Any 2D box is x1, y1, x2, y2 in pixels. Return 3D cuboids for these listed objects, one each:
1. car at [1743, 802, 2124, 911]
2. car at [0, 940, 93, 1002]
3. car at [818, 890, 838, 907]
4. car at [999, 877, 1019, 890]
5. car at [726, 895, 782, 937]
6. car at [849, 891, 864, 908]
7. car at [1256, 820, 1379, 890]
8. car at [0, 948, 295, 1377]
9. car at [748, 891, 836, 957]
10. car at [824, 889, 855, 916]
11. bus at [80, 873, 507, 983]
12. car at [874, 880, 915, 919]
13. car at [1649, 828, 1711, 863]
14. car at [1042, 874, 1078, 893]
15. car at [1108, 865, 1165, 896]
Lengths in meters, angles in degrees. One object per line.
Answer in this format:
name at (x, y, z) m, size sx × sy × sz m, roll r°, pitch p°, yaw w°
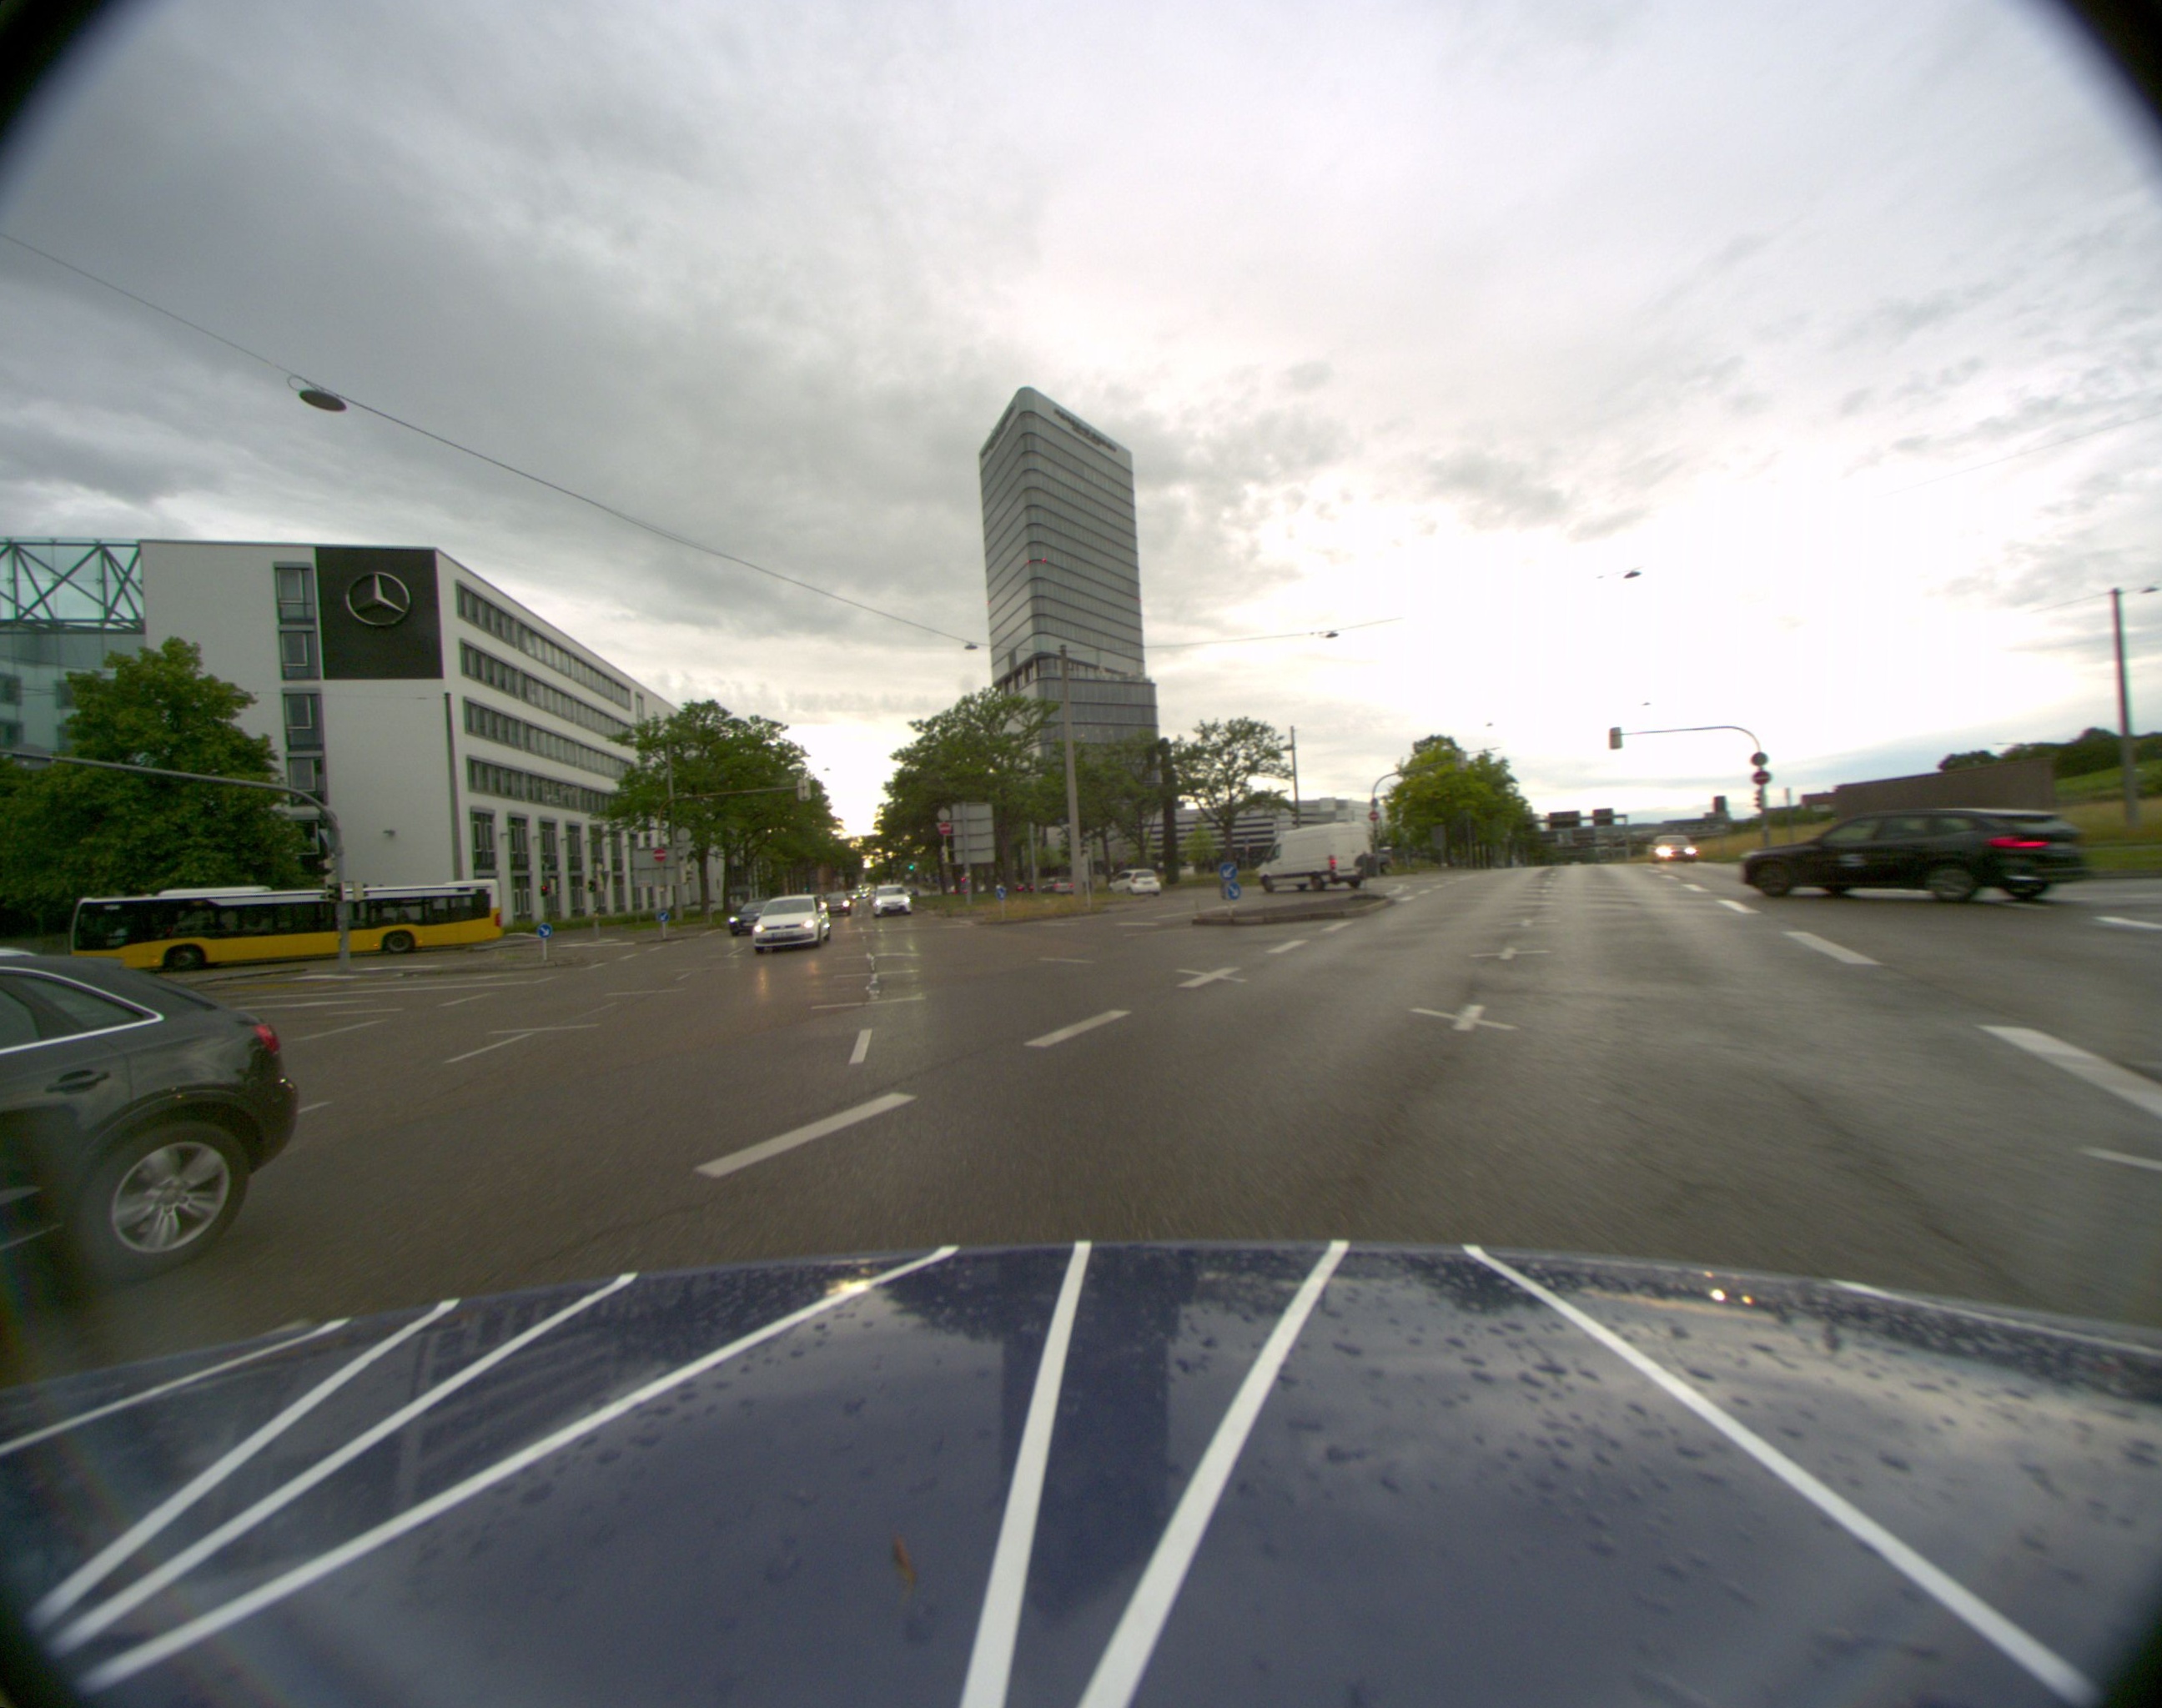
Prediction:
car at (15.207, 0.078, 13.995) m, size 1.739 × 1.587 × 4.338 m, roll -4°, pitch -1°, yaw -10°
car at (-29.789, 3.253, 20.618) m, size 4.114 × 1.406 × 1.732 m, roll -4°, pitch 0°, yaw 7°
car at (-26.789, 4.706, 80.537) m, size 1.612 × 1.504 × 3.629 m, roll -4°, pitch 0°, yaw -12°
car at (-8.904, 3.604, 94.039) m, size 1.785 × 1.476 × 4.052 m, roll -4°, pitch -1°, yaw -14°
car at (-13.491, 2.508, 31.513) m, size 1.761 × 1.390 × 3.994 m, roll -4°, pitch 0°, yaw -19°
car at (-29.949, 6.011, 101.423) m, size 1.612 × 2.002 × 3.629 m, roll -4°, pitch 0°, yaw -12°
car at (9.782, 0.118, 31.980) m, size 1.933 × 2.569 × 5.452 m, roll -4°, pitch -1°, yaw -19°
car at (-5.029, 1.292, 1.969) m, size 1.730 × 1.525 × 4.126 m, roll -3°, pitch 0°, yaw -2°
car at (-8.084, 1.892, 21.607) m, size 1.731 × 1.463 × 4.260 m, roll -5°, pitch 0°, yaw -14°
car at (-14.717, 2.939, 46.437) m, size 1.571 × 1.406 × 3.875 m, roll -4°, pitch -1°, yaw -15°
bus at (-31.159, 2.753, 31.215) m, size 11.864 × 3.182 × 1.995 m, roll -3°, pitch 0°, yaw -36°
car at (-9.628, 2.293, 39.015) m, size 1.829 × 1.574 × 4.291 m, roll -5°, pitch 1°, yaw -15°
car at (31.518, -0.473, 39.914) m, size 3.912 × 1.579 × 1.793 m, roll -3°, pitch 0°, yaw -41°
car at (-1.776, 2.454, 63.558) m, size 1.785 × 1.476 × 4.051 m, roll -4°, pitch -1°, yaw -19°
car at (3.008, 1.452, 41.737) m, size 1.684 × 1.476 × 3.786 m, roll -4°, pitch -1°, yaw -19°
